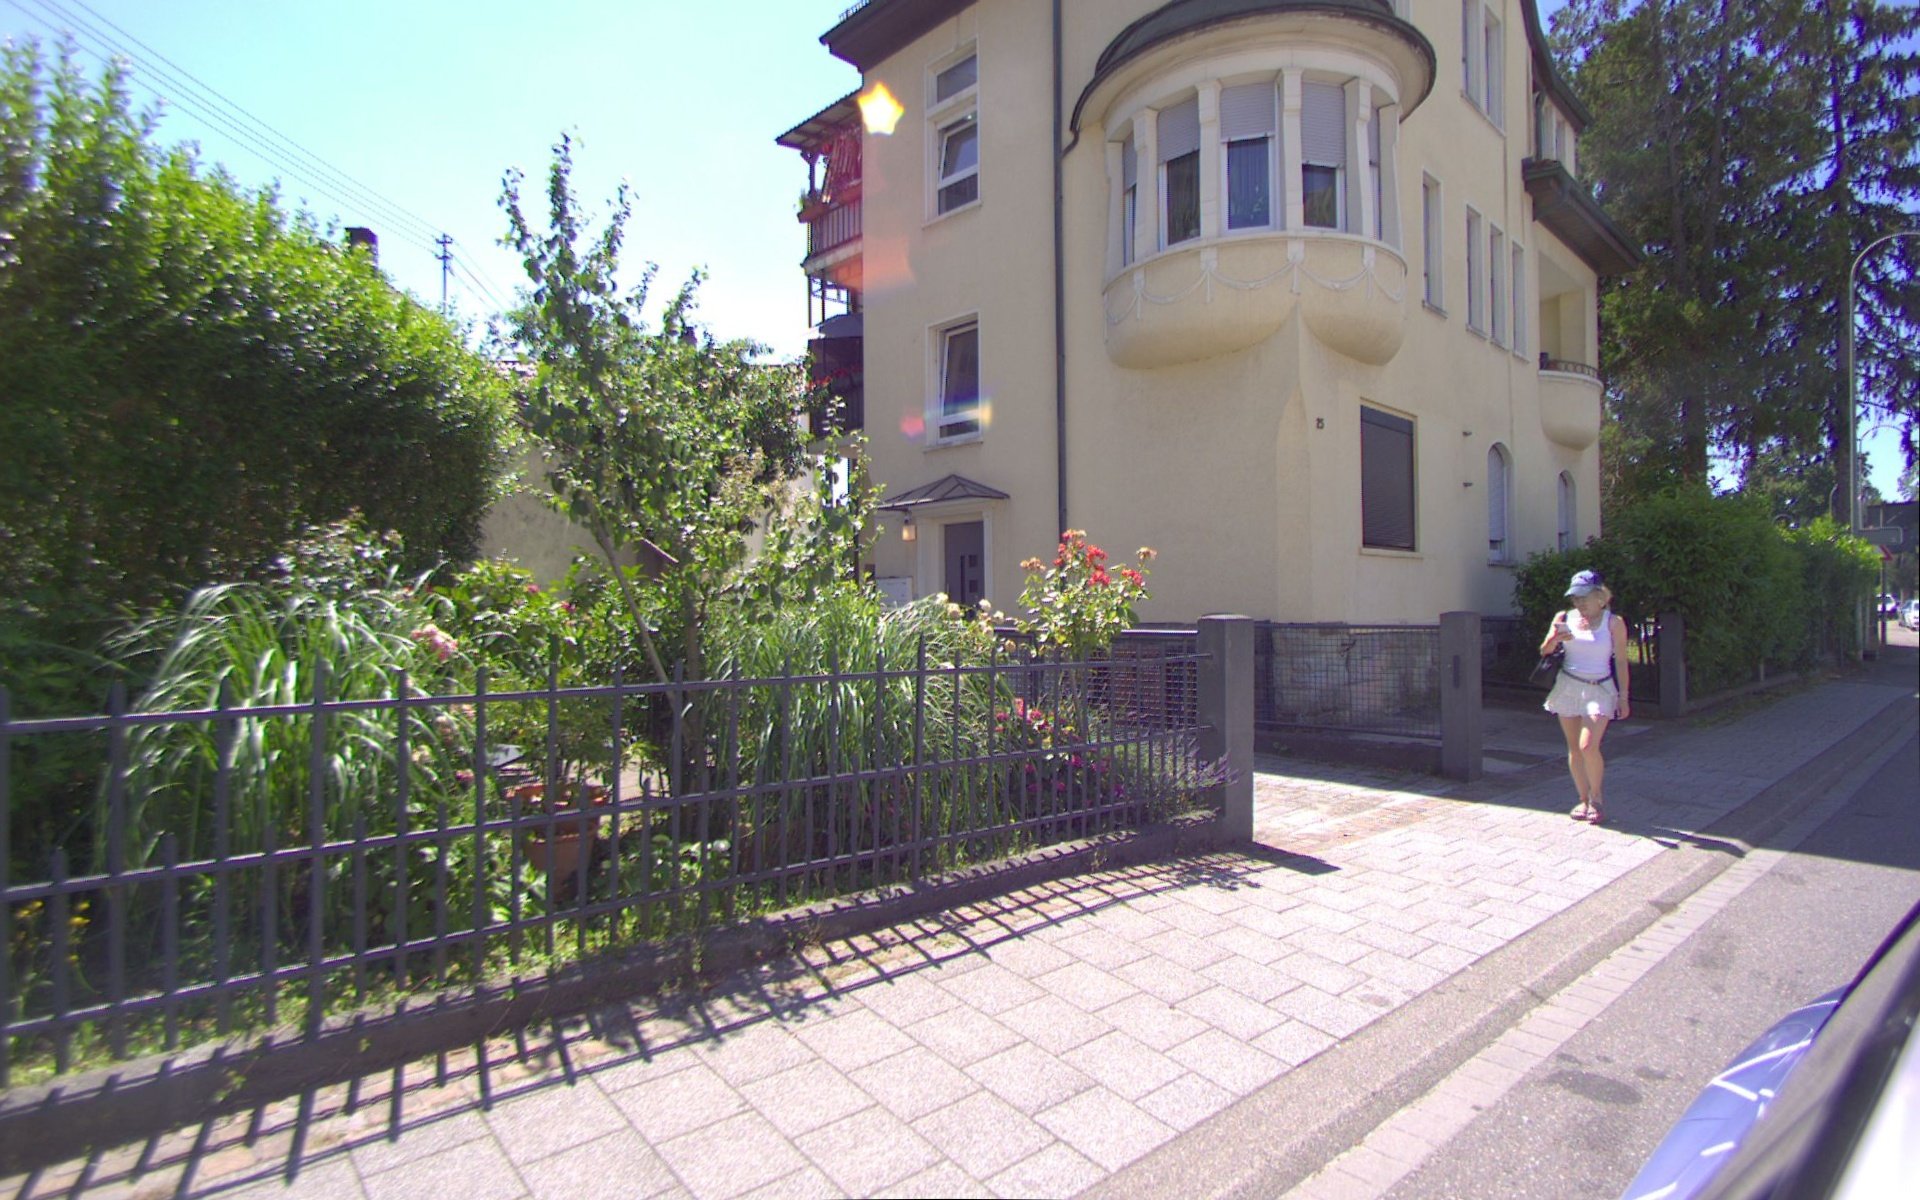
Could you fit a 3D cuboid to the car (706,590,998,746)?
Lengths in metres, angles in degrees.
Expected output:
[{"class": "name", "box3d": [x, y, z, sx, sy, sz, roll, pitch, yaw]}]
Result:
[{"class": "car", "box3d": [-1.347, 0.666, 11.715, 1.738, 1.505, 3.330, -1, 0, -42]}]

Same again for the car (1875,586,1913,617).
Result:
[{"class": "car", "box3d": [62.216, 0.117, 67.384, 1.684, 1.801, 3.879, -3, 1, 45]}]

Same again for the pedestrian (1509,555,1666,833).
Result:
[{"class": "pedestrian", "box3d": [4.098, 0.559, 6.604, 0.624, 1.663, 0.759, 5, 4, 45]}]
